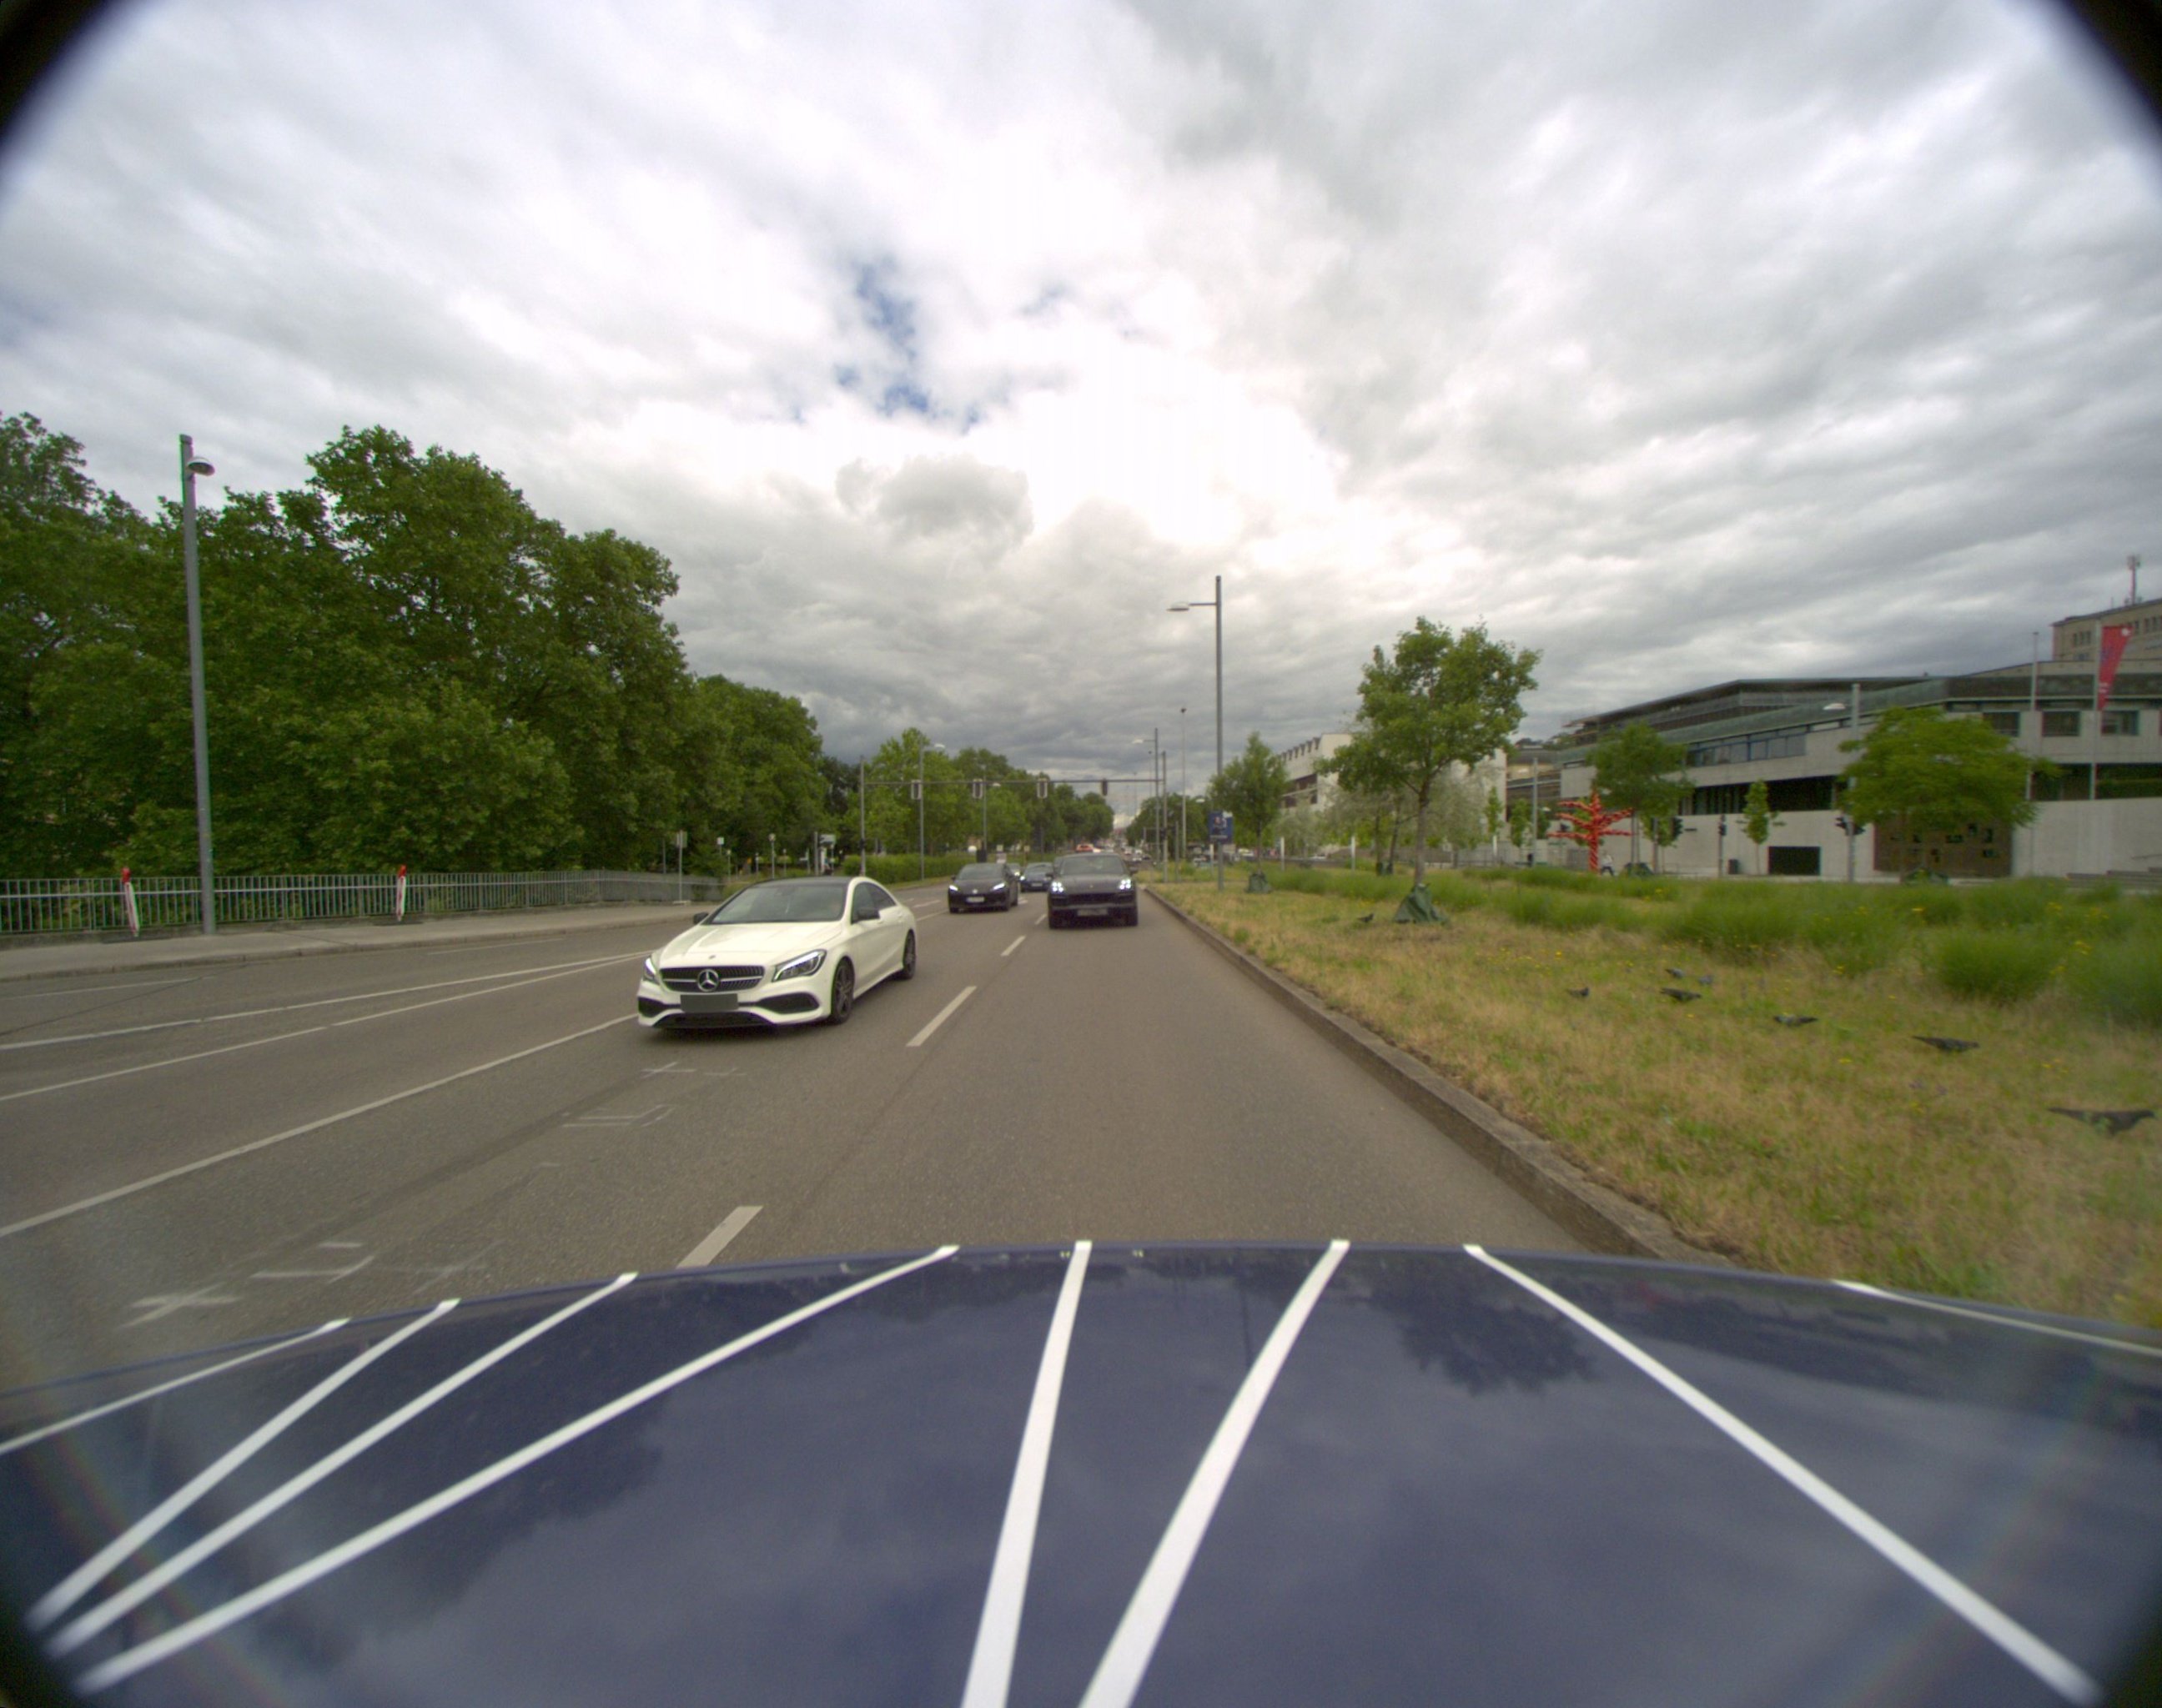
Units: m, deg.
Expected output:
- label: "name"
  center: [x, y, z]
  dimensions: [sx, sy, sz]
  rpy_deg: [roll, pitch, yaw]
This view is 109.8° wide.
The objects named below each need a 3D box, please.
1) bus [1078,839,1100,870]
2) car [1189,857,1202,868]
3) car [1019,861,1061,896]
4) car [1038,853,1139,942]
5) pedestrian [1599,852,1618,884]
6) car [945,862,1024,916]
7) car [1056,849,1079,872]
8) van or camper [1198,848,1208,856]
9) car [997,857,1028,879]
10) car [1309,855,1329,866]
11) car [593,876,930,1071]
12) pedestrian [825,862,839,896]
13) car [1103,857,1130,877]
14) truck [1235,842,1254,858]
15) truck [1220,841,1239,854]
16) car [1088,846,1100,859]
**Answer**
- label: "bus"
  center: [1.219, 0.008, 113.278]
  dimensions: [3.043, 4.327, 8.749]
  rpy_deg: [-1, 0, 1]
- label: "car"
  center: [22.826, 1.691, 151.874]
  dimensions: [1.998, 2.002, 4.333]
  rpy_deg: [2, 0, 2]
- label: "car"
  center: [-2.005, 1.253, 38.250]
  dimensions: [1.573, 1.527, 4.004]
  rpy_deg: [-5, -3, 3]
- label: "car"
  center: [0.226, 0.851, 17.215]
  dimensions: [1.937, 1.668, 4.680]
  rpy_deg: [-1, 0, 2]
- label: "pedestrian"
  center: [28.875, 0.760, 41.617]
  dimensions: [0.541, 1.723, 0.663]
  rpy_deg: [-2, 0, 2]
- label: "car"
  center: [-2.997, 1.037, 24.314]
  dimensions: [1.829, 1.515, 4.120]
  rpy_deg: [-2, 0, 2]
- label: "car"
  center: [-1.118, 0.541, 64.856]
  dimensions: [1.723, 1.851, 4.431]
  rpy_deg: [-2, 0, 2]
- label: "van or camper"
  center: [31.609, -0.491, 197.598]
  dimensions: [1.998, 2.001, 4.558]
  rpy_deg: [-1, -1, 2]
- label: "car"
  center: [-5.091, 1.020, 56.909]
  dimensions: [1.723, 1.528, 4.001]
  rpy_deg: [-2, 0, 2]
- label: "car"
  center: [34.650, 1.003, 110.754]
  dimensions: [1.723, 1.565, 4.614]
  rpy_deg: [-1, -1, 3]
- label: "car"
  center: [-3.113, 1.067, 8.580]
  dimensions: [1.723, 1.415, 4.506]
  rpy_deg: [-2, 0, 2]
- label: "pedestrian"
  center: [-13.110, 1.296, 39.988]
  dimensions: [0.479, 1.753, 0.620]
  rpy_deg: [-2, 1, -1]
- label: "car"
  center: [3.003, 1.062, 64.887]
  dimensions: [1.762, 1.538, 3.998]
  rpy_deg: [-2, 0, -4]
- label: "truck"
  center: [31.450, -0.716, 146.508]
  dimensions: [2.469, 2.799, 7.080]
  rpy_deg: [-1, -1, 3]
- label: "truck"
  center: [34.625, -1.419, 177.504]
  dimensions: [3.239, 2.771, 7.255]
  rpy_deg: [-1, -1, 2]
- label: "car"
  center: [2.368, -0.248, 140.531]
  dimensions: [1.998, 2.216, 4.001]
  rpy_deg: [-2, 0, 4]
